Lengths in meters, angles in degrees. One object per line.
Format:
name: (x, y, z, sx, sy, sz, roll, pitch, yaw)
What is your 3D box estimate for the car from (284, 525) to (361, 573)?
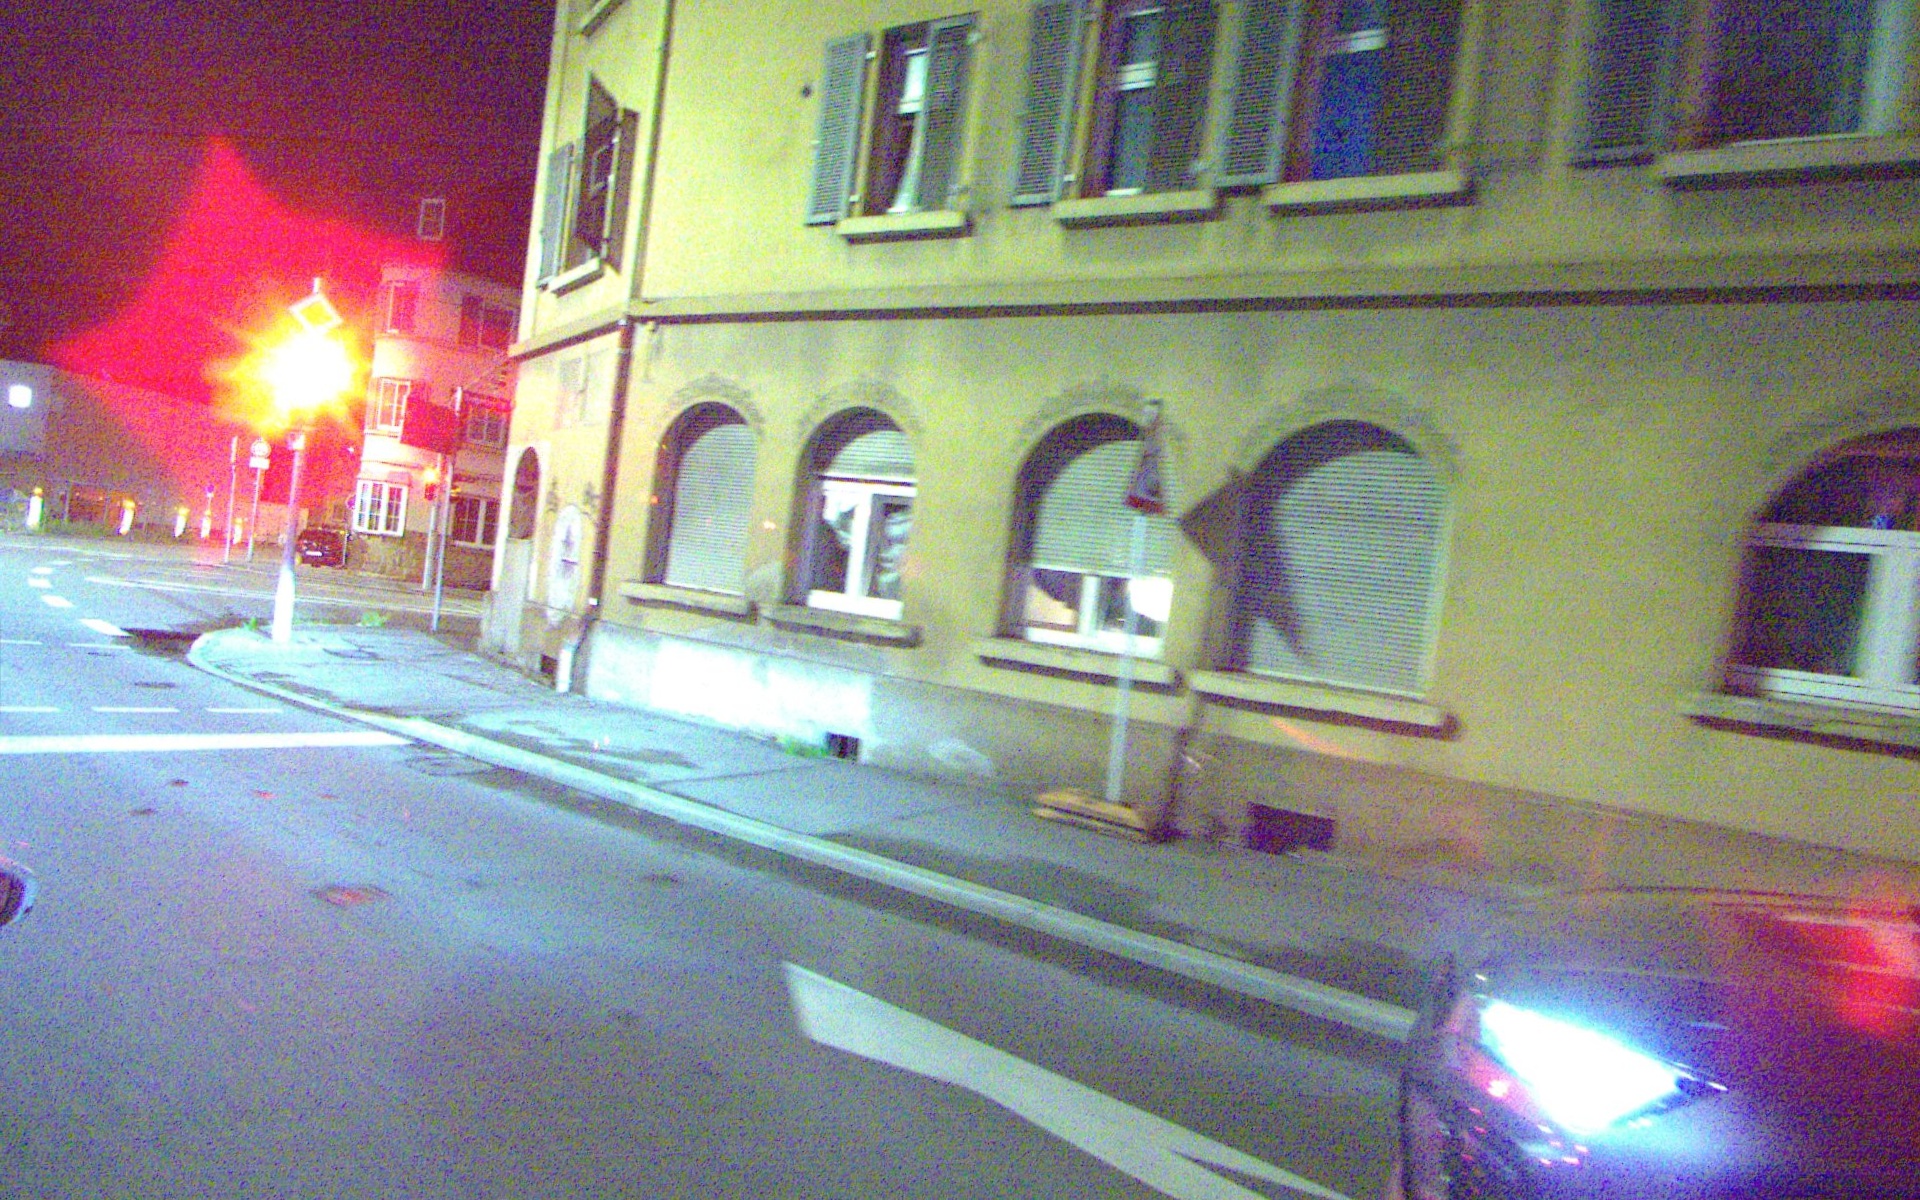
car: (-26.167, -2.046, 41.416, 1.708, 1.631, 3.610, 7, -1, -18)

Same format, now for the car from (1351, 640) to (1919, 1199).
car: (2.944, 1.133, 1.521, 4.159, 1.629, 1.673, 6, -1, 31)
